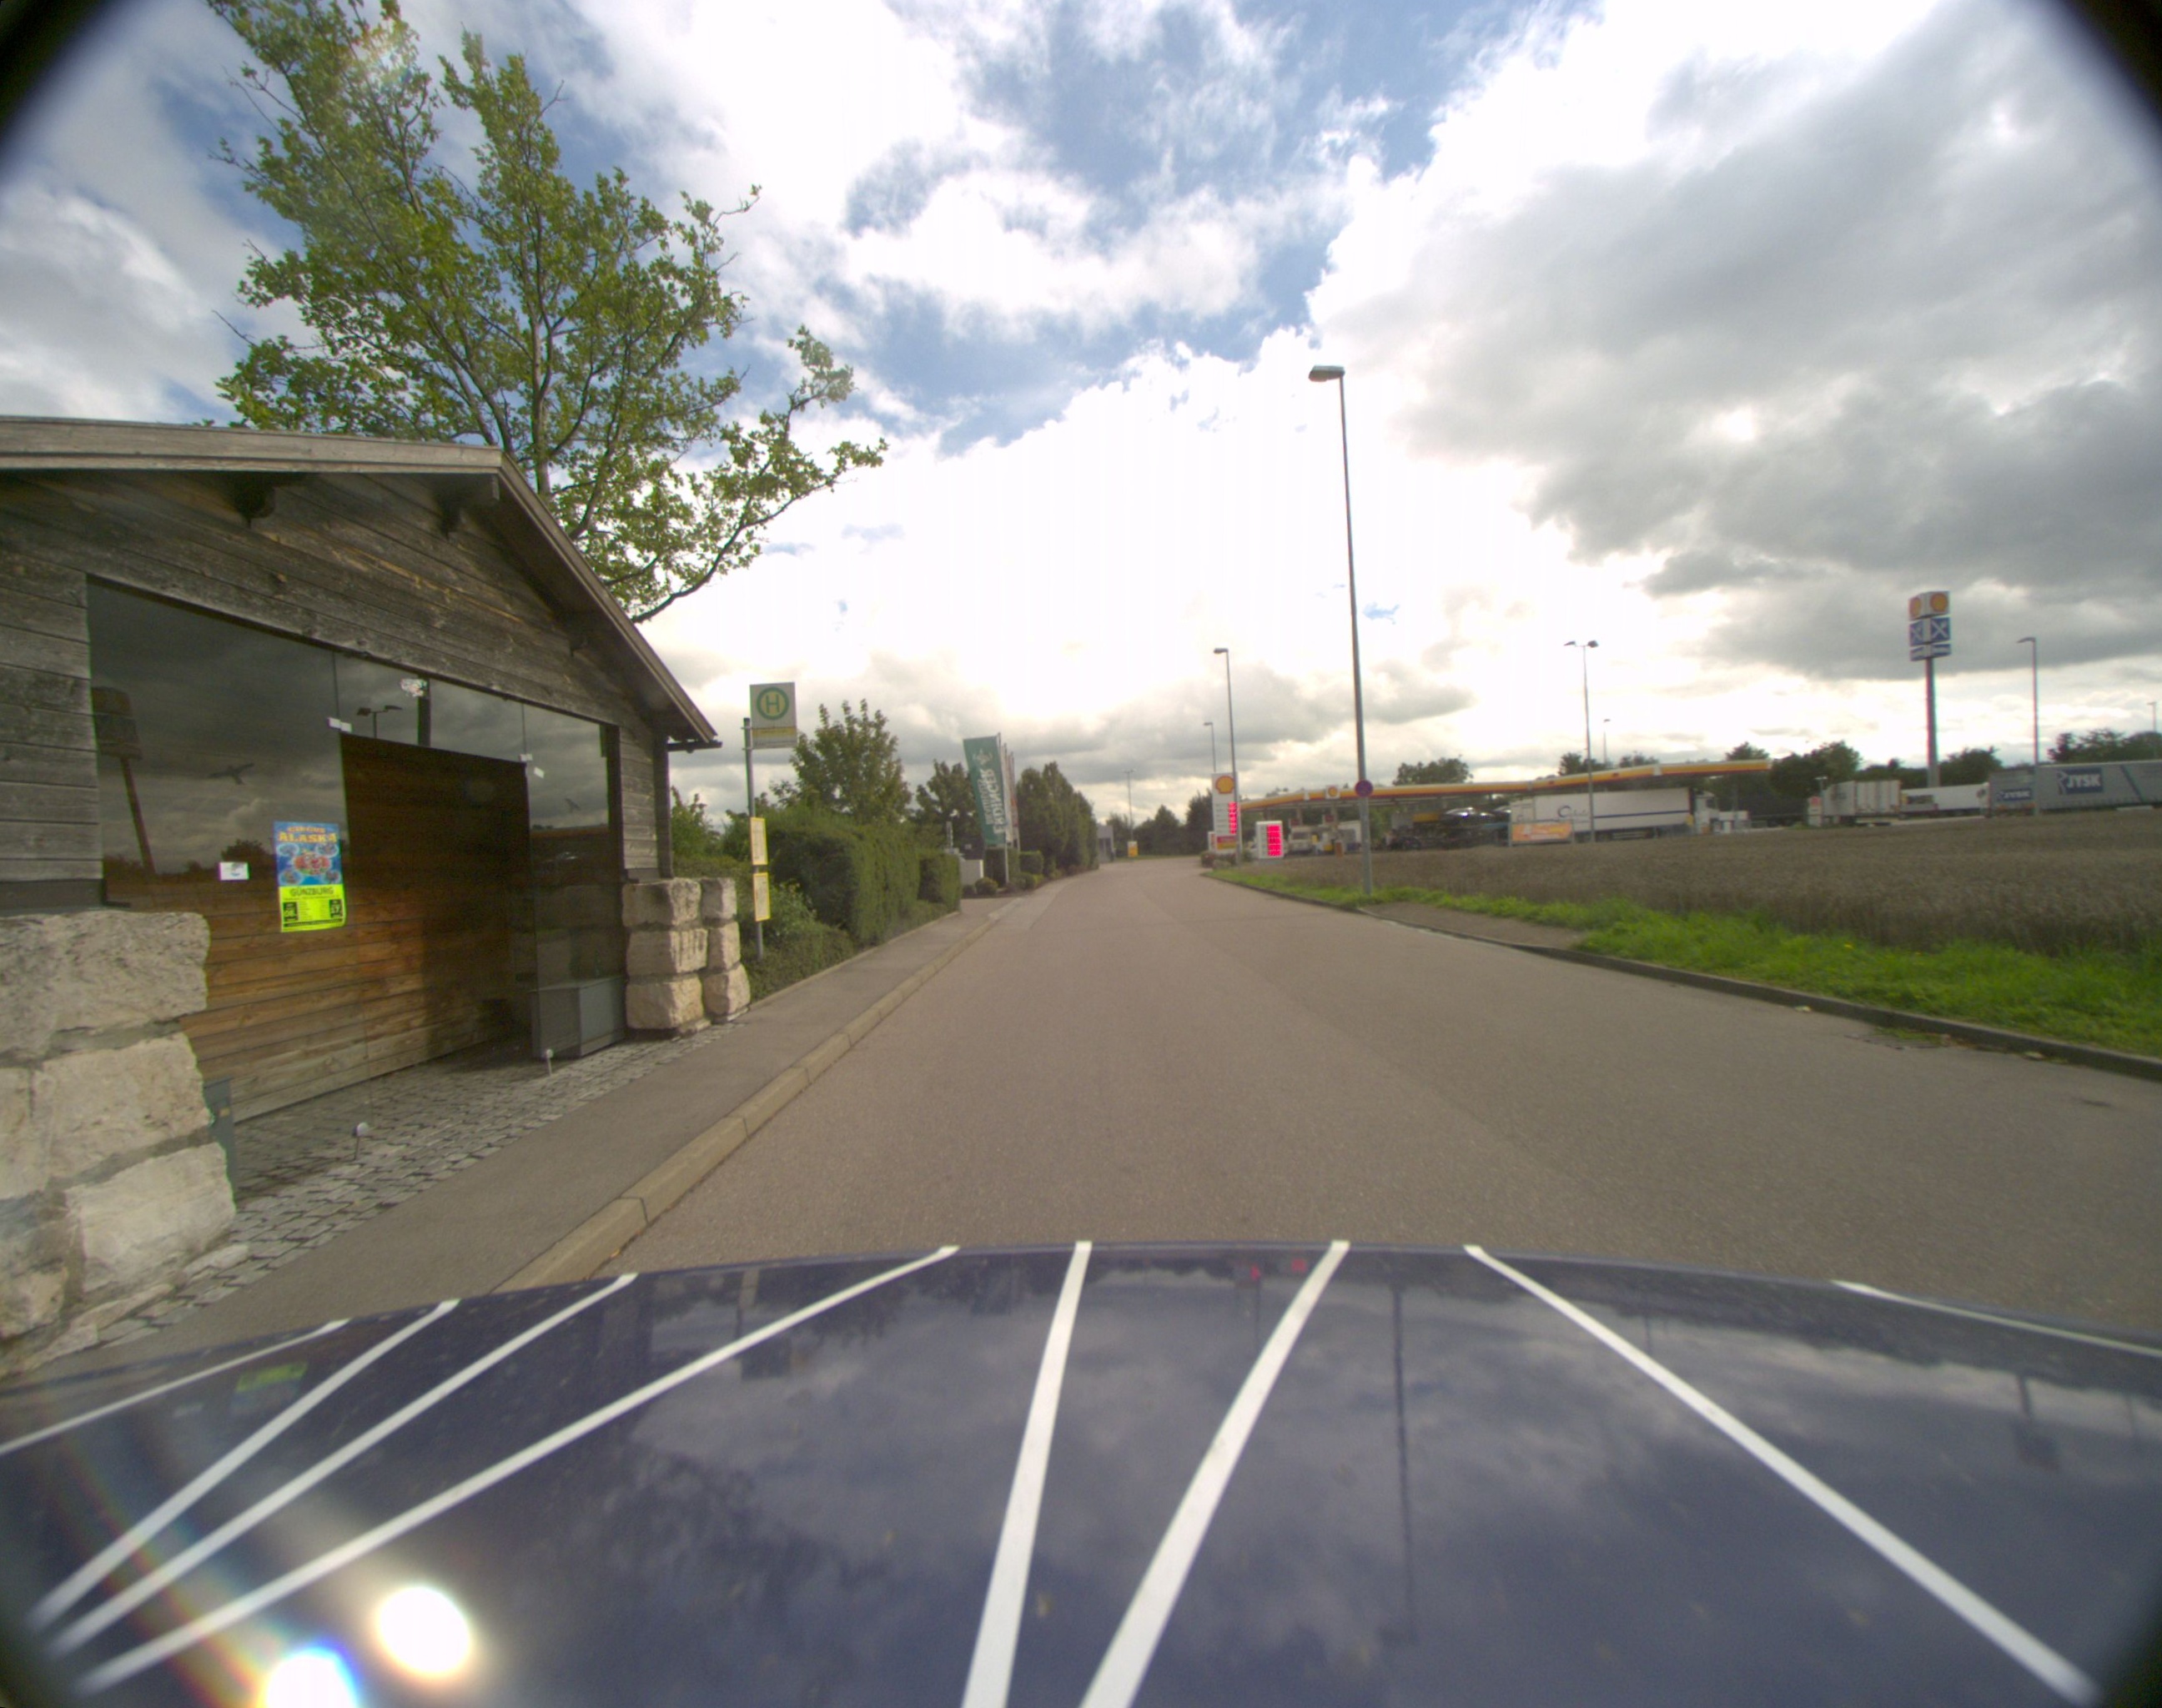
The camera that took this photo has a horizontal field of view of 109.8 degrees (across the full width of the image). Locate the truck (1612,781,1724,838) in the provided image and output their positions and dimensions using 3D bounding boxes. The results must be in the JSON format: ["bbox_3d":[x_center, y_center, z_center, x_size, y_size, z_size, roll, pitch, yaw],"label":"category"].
[{"bbox_3d":[46.313,-3.499,60.029,7.169,4.001,2.710,-3,1,-9],"label":"truck"}]

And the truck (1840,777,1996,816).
[{"bbox_3d":[104.762,-7.140,95.541,12.774,3.871,2.829,-2,2,35],"label":"truck"}]

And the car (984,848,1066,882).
[{"bbox_3d":[-3.214,0.609,43.810,4.357,1.706,1.658,-3,0,9],"label":"car"}]

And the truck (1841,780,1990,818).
[{"bbox_3d":[108.523,-7.083,99.254,12.774,3.871,2.829,-2,2,35],"label":"truck"}]

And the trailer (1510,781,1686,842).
[{"bbox_3d":[40.145,-3.272,59.025,12.847,4.001,2.710,-3,1,-9],"label":"trailer"}]

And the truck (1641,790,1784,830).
[{"bbox_3d":[74.780,-5.166,90.502,12.774,3.871,2.829,-2,2,35],"label":"truck"}]

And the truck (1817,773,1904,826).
[{"bbox_3d":[69.514,-4.808,68.159,2.955,4.089,14.774,-2,2,36],"label":"truck"}]

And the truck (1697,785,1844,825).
[{"bbox_3d":[83.524,-5.844,92.506,12.978,3.871,2.829,-2,2,37],"label":"truck"}]

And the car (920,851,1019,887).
[{"bbox_3d":[-5.830,0.758,39.861,4.672,1.687,1.920,-2,2,12],"label":"car"}]

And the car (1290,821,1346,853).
[{"bbox_3d":[22.510,-1.598,72.169,5.819,2.770,2.219,-3,1,-41],"label":"car"}]

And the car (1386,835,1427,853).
[{"bbox_3d":[31.582,-0.937,73.839,1.717,1.592,3.757,-3,0,-13],"label":"car"}]

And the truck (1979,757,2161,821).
[{"bbox_3d":[72.049,-4.683,53.819,15.458,3.871,2.822,-3,2,-7],"label":"truck"}]

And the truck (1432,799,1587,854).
[{"bbox_3d":[35.721,-2.324,63.242,13.265,3.901,2.748,-3,2,-17],"label":"truck"}]
